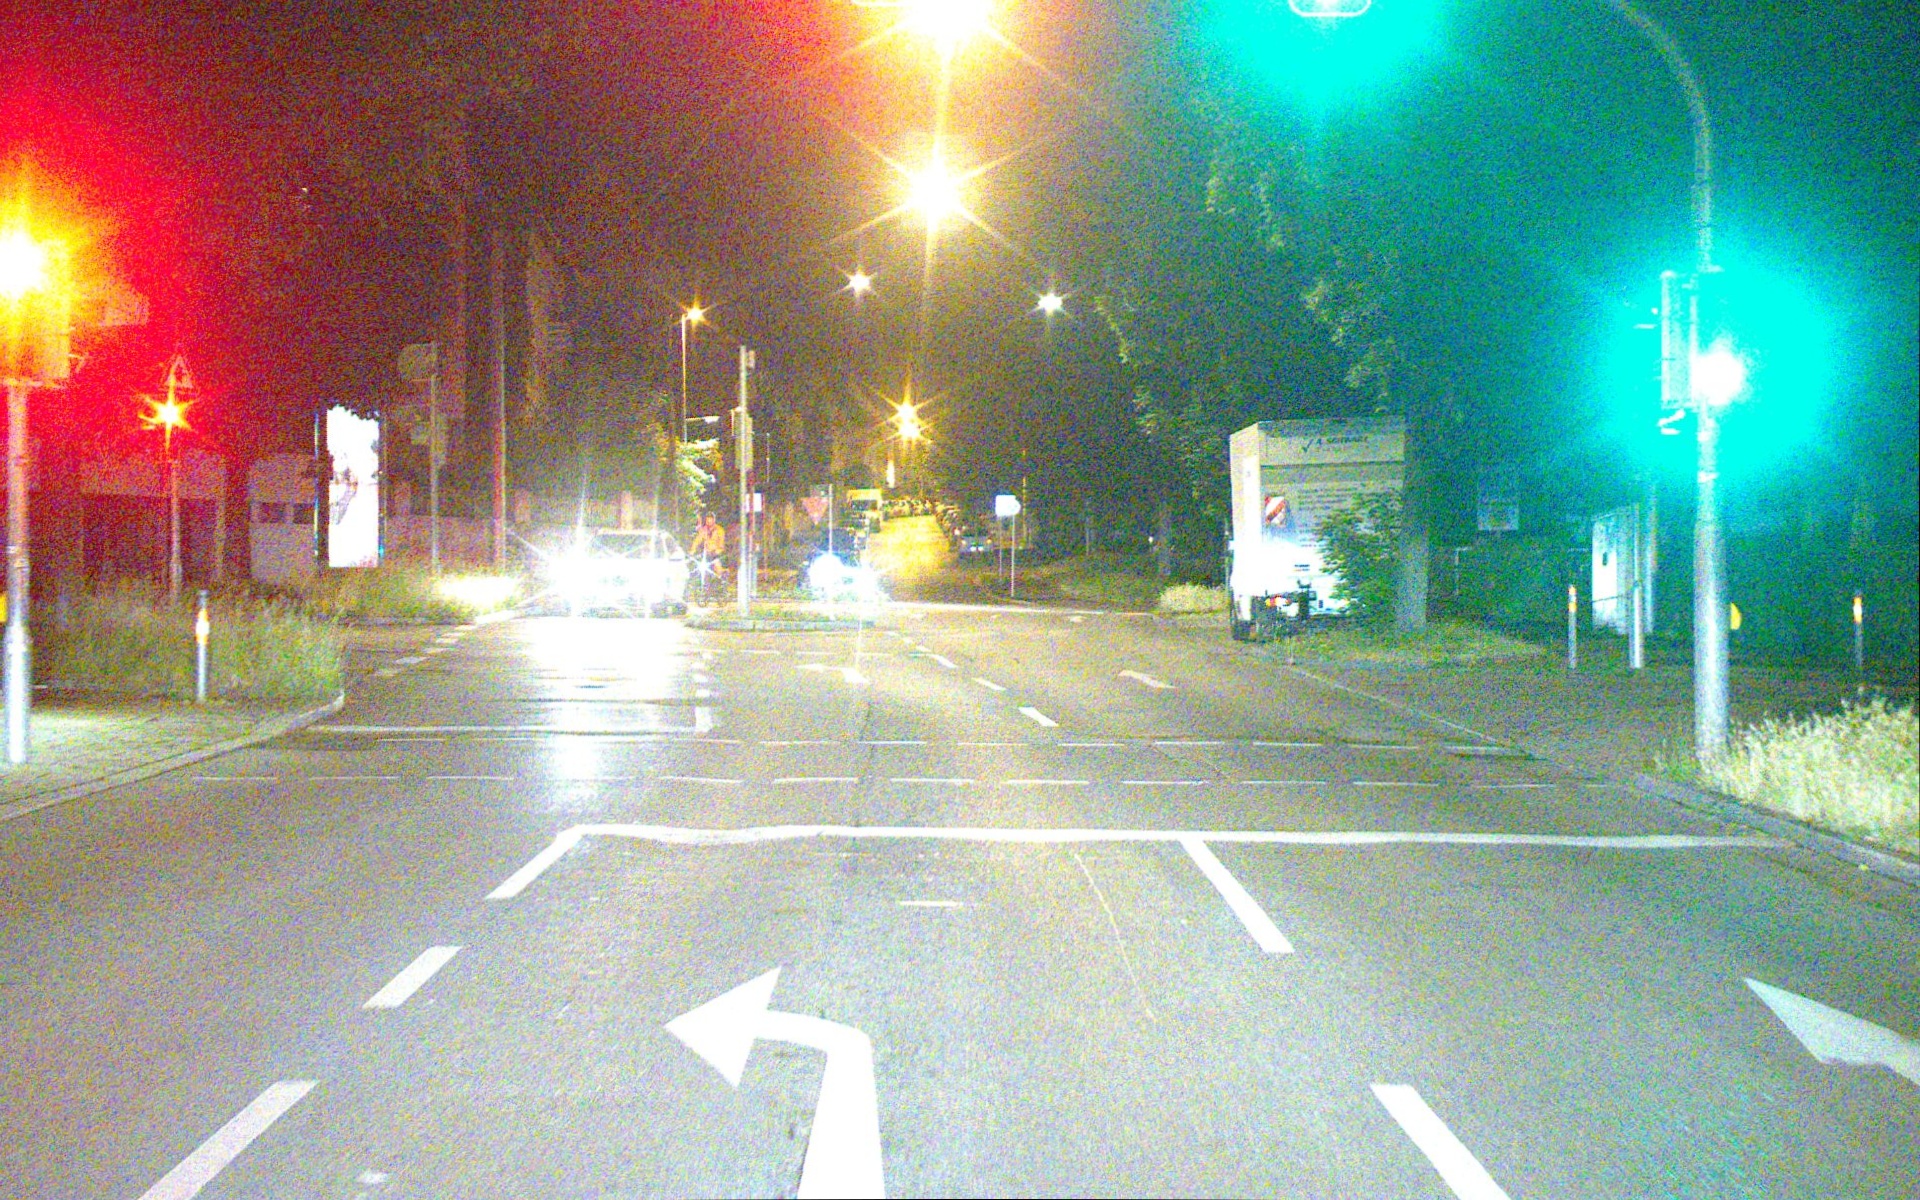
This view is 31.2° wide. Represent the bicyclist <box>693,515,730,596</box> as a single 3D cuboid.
[{"bbox_3d":[-5.060,-0.905,70.126,0.690,1.631,0.896,1,1,-1],"label":"bicyclist"}]

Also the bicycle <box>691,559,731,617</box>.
[{"bbox_3d":[-5.073,-0.255,70.212,0.696,1.145,1.951,1,1,-1],"label":"bicycle"}]

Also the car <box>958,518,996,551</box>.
[{"bbox_3d":[0.777,-2.986,156.672,1.634,1.447,3.485,1,1,-1],"label":"car"}]

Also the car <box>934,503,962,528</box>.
[{"bbox_3d":[-0.721,-5.034,204.865,1.634,1.447,3.485,1,1,-1],"label":"car"}]

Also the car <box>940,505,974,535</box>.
[{"bbox_3d":[-0.161,-4.029,172.659,1.634,1.447,3.485,1,1,-1],"label":"car"}]

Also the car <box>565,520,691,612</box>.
[{"bbox_3d":[-5.774,-0.614,60.134,1.857,1.529,4.028,1,1,-1],"label":"car"}]

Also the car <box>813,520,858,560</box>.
[{"bbox_3d":[-5.366,-2.611,148.244,1.815,1.678,4.000,1,1,-1],"label":"car"}]

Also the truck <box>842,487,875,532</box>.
[{"bbox_3d":[-6.593,-5.847,222.959,2.086,2.838,5.832,1,1,-2],"label":"truck"}]

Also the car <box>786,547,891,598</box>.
[{"bbox_3d":[-3.586,-0.813,100.560,1.916,1.384,4.584,1,1,-17],"label":"car"}]

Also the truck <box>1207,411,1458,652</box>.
[{"bbox_3d":[5.083,-0.955,47.974,2.749,3.100,6.259,1,1,0],"label":"truck"}]
